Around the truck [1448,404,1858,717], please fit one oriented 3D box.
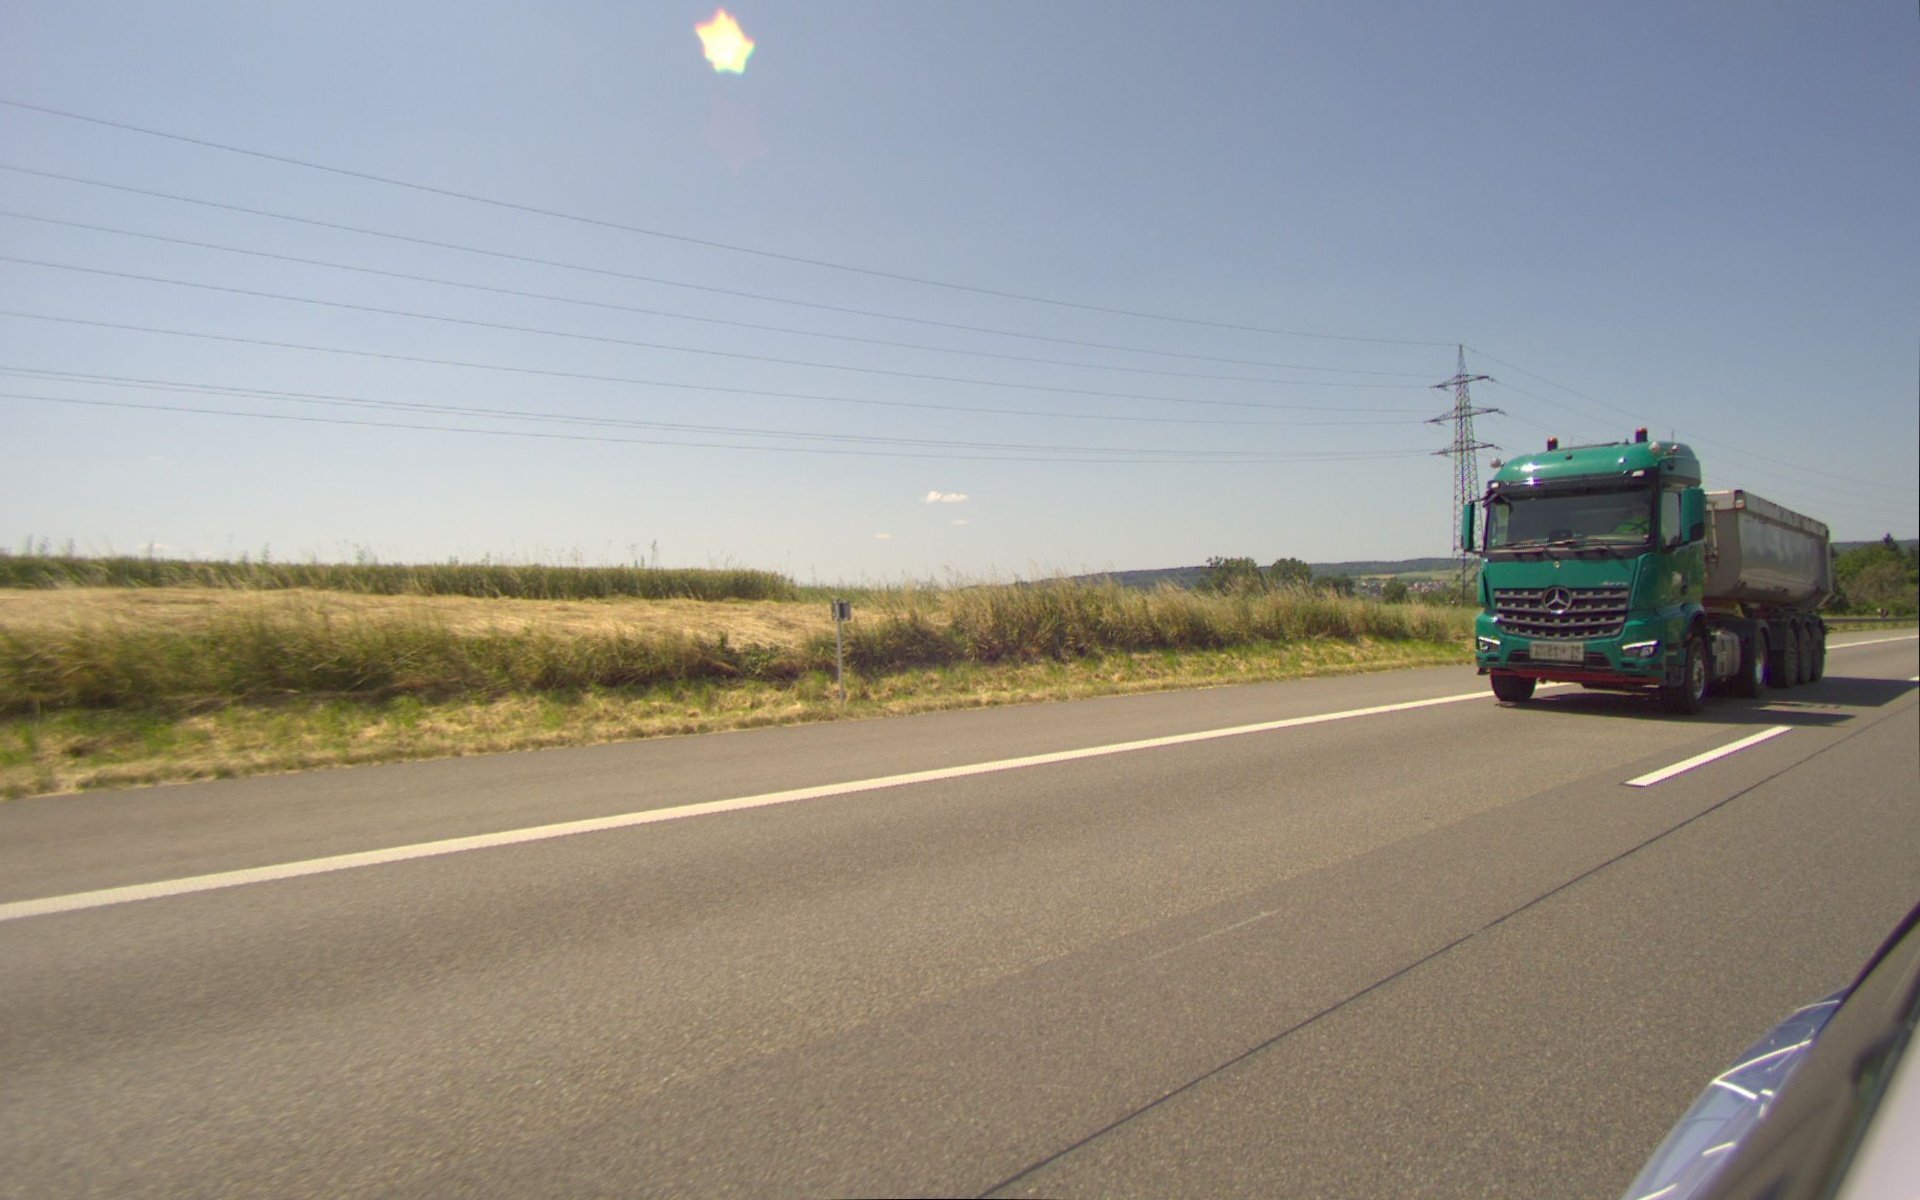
[{"bbox_3d":[12.562,-0.510,17.444,12.541,3.770,2.870,0,1,-42],"label":"truck"}]
